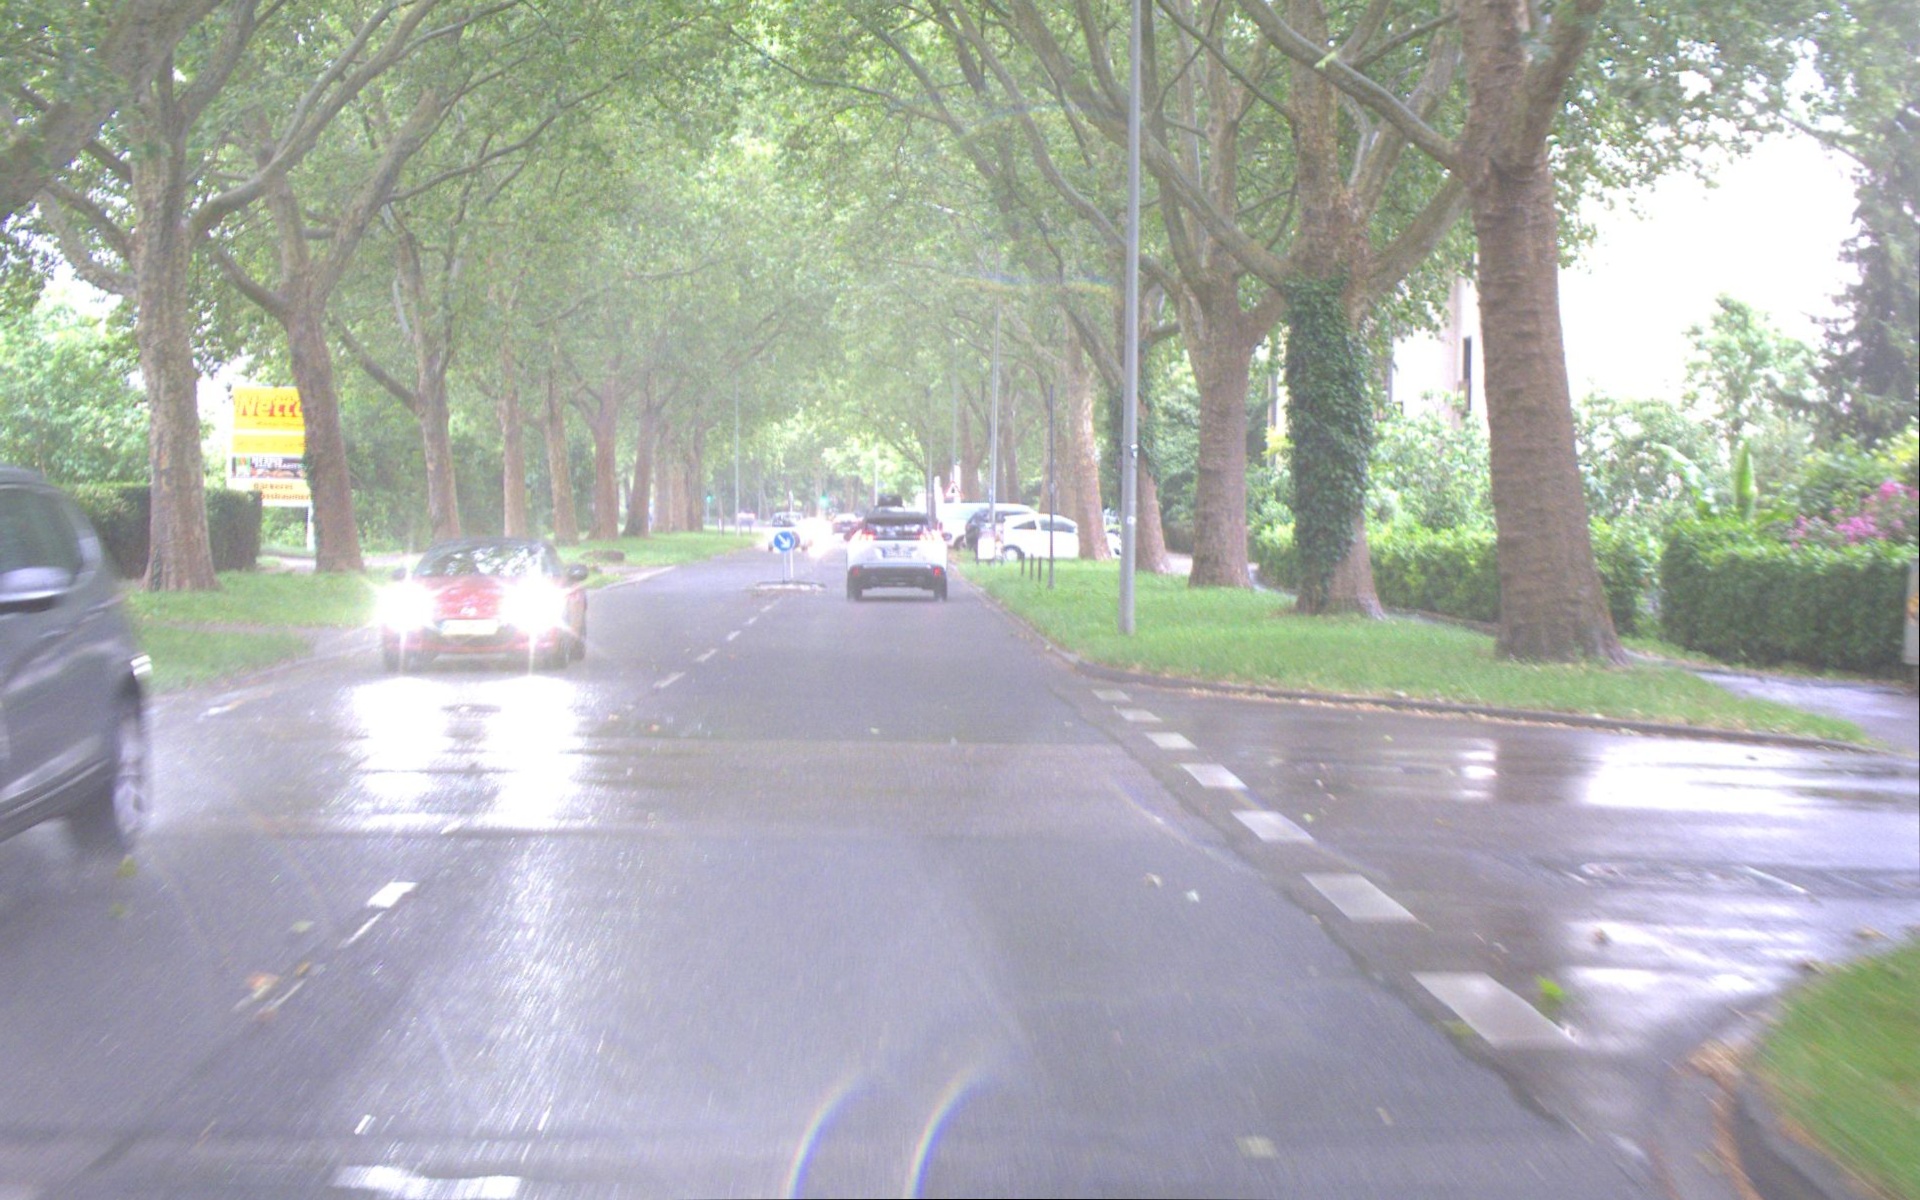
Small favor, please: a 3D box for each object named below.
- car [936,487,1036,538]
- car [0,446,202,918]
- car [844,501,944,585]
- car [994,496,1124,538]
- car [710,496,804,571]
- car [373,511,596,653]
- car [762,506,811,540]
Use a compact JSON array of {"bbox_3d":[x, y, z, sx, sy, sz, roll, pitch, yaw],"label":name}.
[{"bbox_3d":[0.929,-3.203,125.704,3.546,1.835,1.712,-1,2,-2],"label":"car"},{"bbox_3d":[-4.375,0.244,13.759,1.809,1.678,4.449,0,2,-2],"label":"car"},{"bbox_3d":[-1.175,-1.039,61.108,1.706,1.406,3.645,-1,2,-1],"label":"car"},{"bbox_3d":[2.802,-2.368,97.814,3.546,1.151,1.712,-1,2,-3],"label":"car"},{"bbox_3d":[-3.998,-1.340,68.211,1.706,1.406,3.645,-1,2,-1],"label":"car"},{"bbox_3d":[-4.544,-0.209,33.259,1.706,1.246,3.645,-1,2,-1],"label":"car"},{"bbox_3d":[-6.849,-3.068,136.194,1.720,1.250,4.001,2,2,-1],"label":"car"}]
